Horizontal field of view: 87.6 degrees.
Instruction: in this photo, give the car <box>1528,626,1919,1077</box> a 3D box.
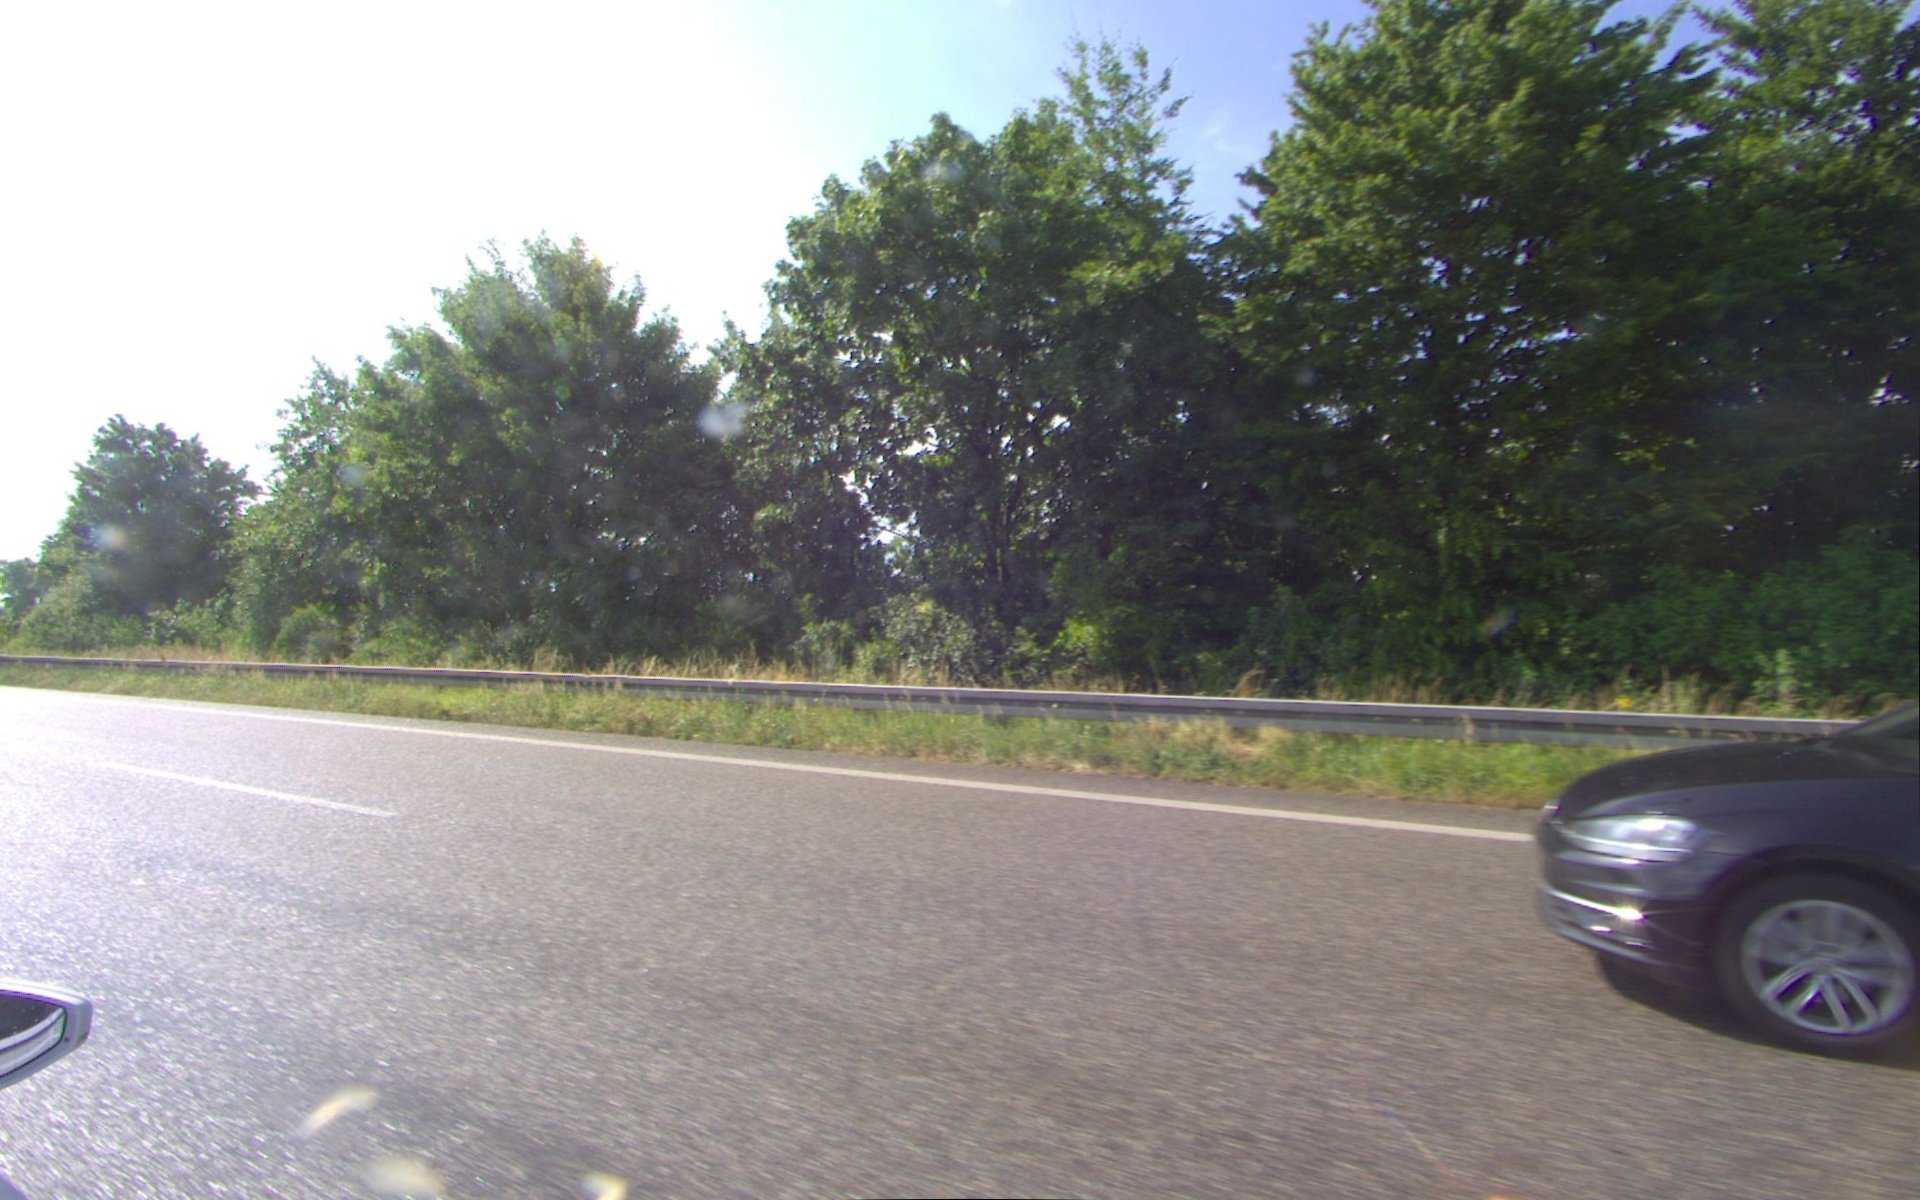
[{"bbox_3d":[4.481,0.818,3.459,4.337,1.449,1.742,-1,-1,29],"label":"car"}]
